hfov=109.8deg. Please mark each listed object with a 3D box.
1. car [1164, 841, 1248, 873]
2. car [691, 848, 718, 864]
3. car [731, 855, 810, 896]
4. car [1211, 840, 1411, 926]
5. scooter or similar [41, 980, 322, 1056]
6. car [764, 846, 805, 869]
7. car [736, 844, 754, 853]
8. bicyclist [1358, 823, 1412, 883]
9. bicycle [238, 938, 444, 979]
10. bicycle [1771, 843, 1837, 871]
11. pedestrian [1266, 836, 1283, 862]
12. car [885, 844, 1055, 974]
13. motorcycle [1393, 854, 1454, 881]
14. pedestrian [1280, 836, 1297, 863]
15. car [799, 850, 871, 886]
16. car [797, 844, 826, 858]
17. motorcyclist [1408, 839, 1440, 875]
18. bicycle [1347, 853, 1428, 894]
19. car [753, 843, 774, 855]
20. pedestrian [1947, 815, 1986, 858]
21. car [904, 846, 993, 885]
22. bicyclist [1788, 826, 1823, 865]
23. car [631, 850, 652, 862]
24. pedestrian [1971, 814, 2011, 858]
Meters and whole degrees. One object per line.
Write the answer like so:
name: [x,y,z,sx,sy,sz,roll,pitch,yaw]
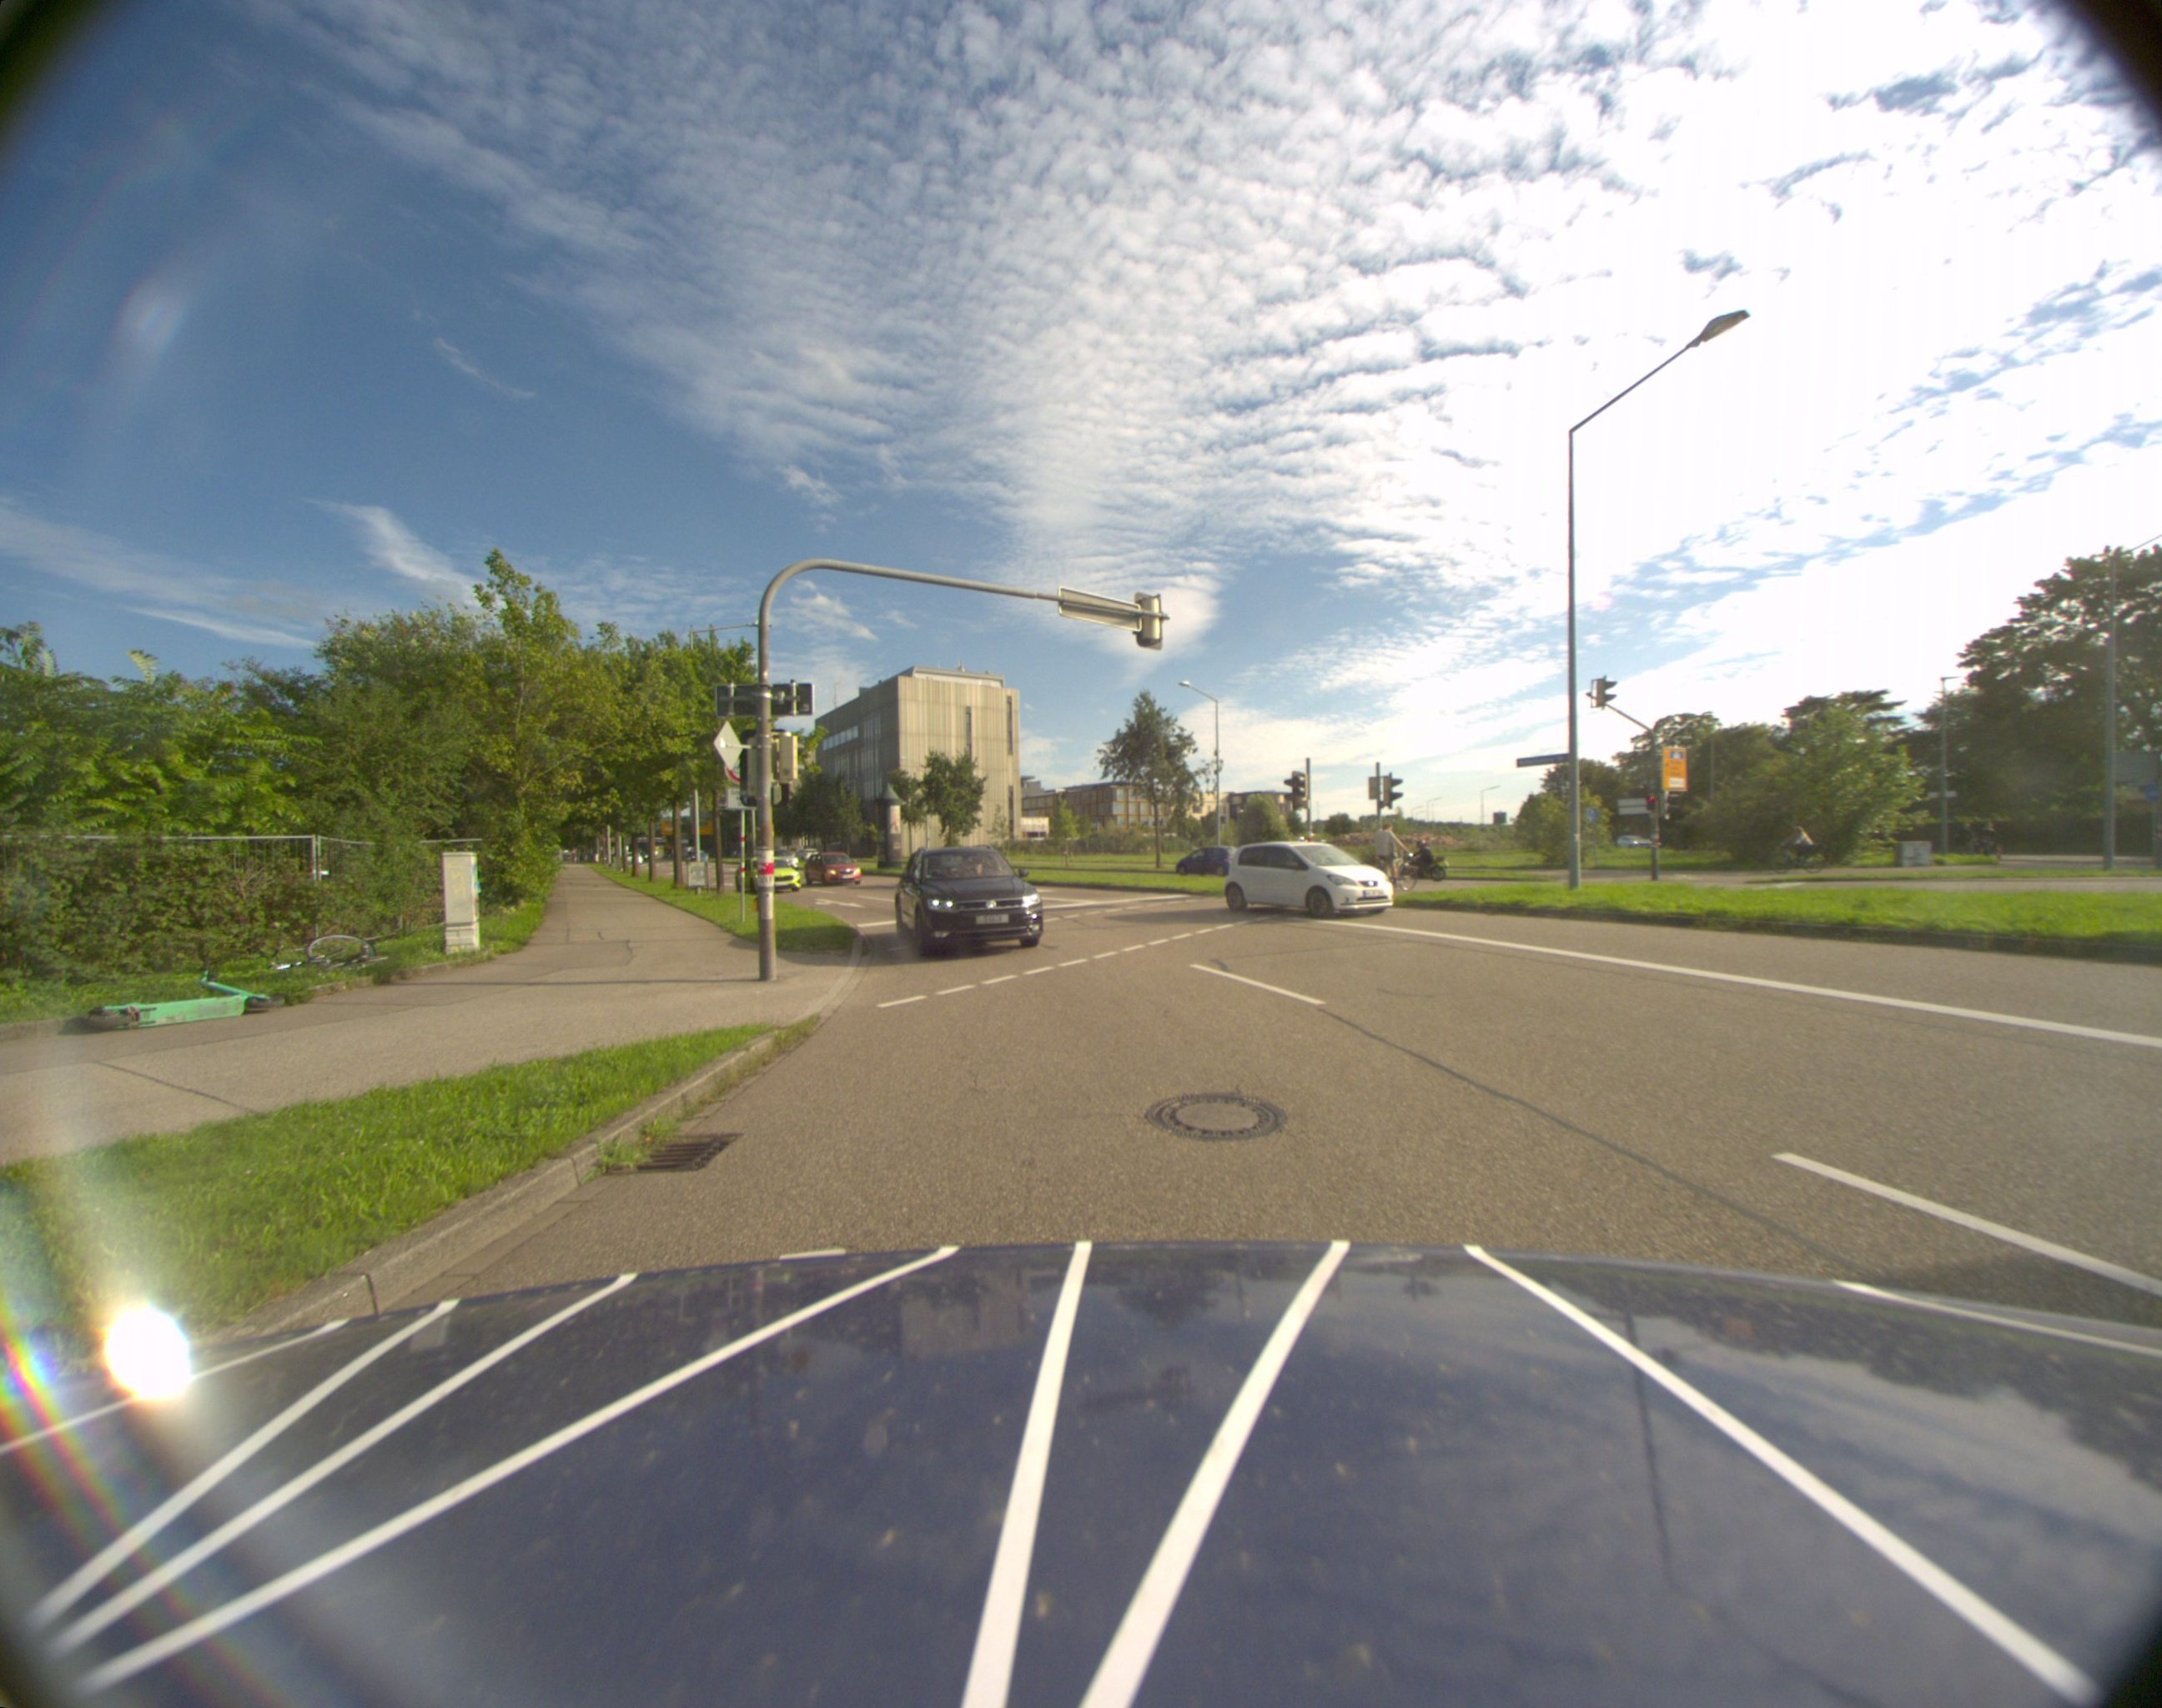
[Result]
car: [6.240,0.160,38.248,1.787,1.492,3.983,0,0,-38]
car: [-41.070,0.167,82.859,2.003,1.652,4.790,-2,1,-34]
car: [-12.928,0.836,31.470,1.900,1.413,4.595,-6,4,-36]
car: [4.519,0.484,15.437,1.769,1.456,3.651,-3,2,-30]
scooter or similar: [-8.607,1.530,7.325,1.290,0.279,1.556,0,1,31]
car: [-21.262,0.244,54.357,1.697,1.467,4.215,-3,3,-35]
car: [-53.770,-0.835,121.539,1.860,1.426,4.057,-2,2,-35]
bicyclist: [8.055,-0.044,20.163,0.867,1.547,0.995,-2,2,-30]
bicycle: [-9.716,1.373,9.992,2.245,0.344,1.092,-4,0,22]
bicycle: [27.134,0.117,28.535,1.836,0.983,0.611,-1,3,1]
pedestrian: [11.681,-0.294,45.861,0.629,1.500,0.754,-6,4,-33]
car: [-2.144,0.728,13.136,1.874,1.646,5.005,-4,2,-19]
motorcycle: [13.203,0.506,29.321,2.018,0.981,0.786,0,1,38]
pedestrian: [12.579,-0.281,46.023,0.629,1.620,0.656,-4,2,-32]
car: [-11.222,0.607,34.545,1.698,1.467,4.215,-4,2,-38]
car: [-28.950,-0.294,81.482,1.689,1.426,3.983,-2,1,-38]
motorcyclist: [13.222,0.117,29.287,0.940,1.358,0.786,0,2,38]
bicycle: [8.158,0.487,20.199,1.964,1.002,0.999,-2,1,-30]
car: [-40.243,-0.621,96.222,1.688,1.426,3.581,-2,1,-36]
pedestrian: [40.342,-0.788,34.631,0.864,1.906,0.898,-1,3,27]
car: [-5.517,0.438,31.257,1.827,1.413,4.435,-3,2,-36]
bicyclist: [27.176,-0.313,28.519,0.697,1.438,0.611,-1,3,1]
car: [-51.605,0.248,89.152,1.741,1.382,3.989,-2,1,-35]
pedestrian: [41.156,-0.819,34.382,0.864,1.906,0.898,-1,3,27]
